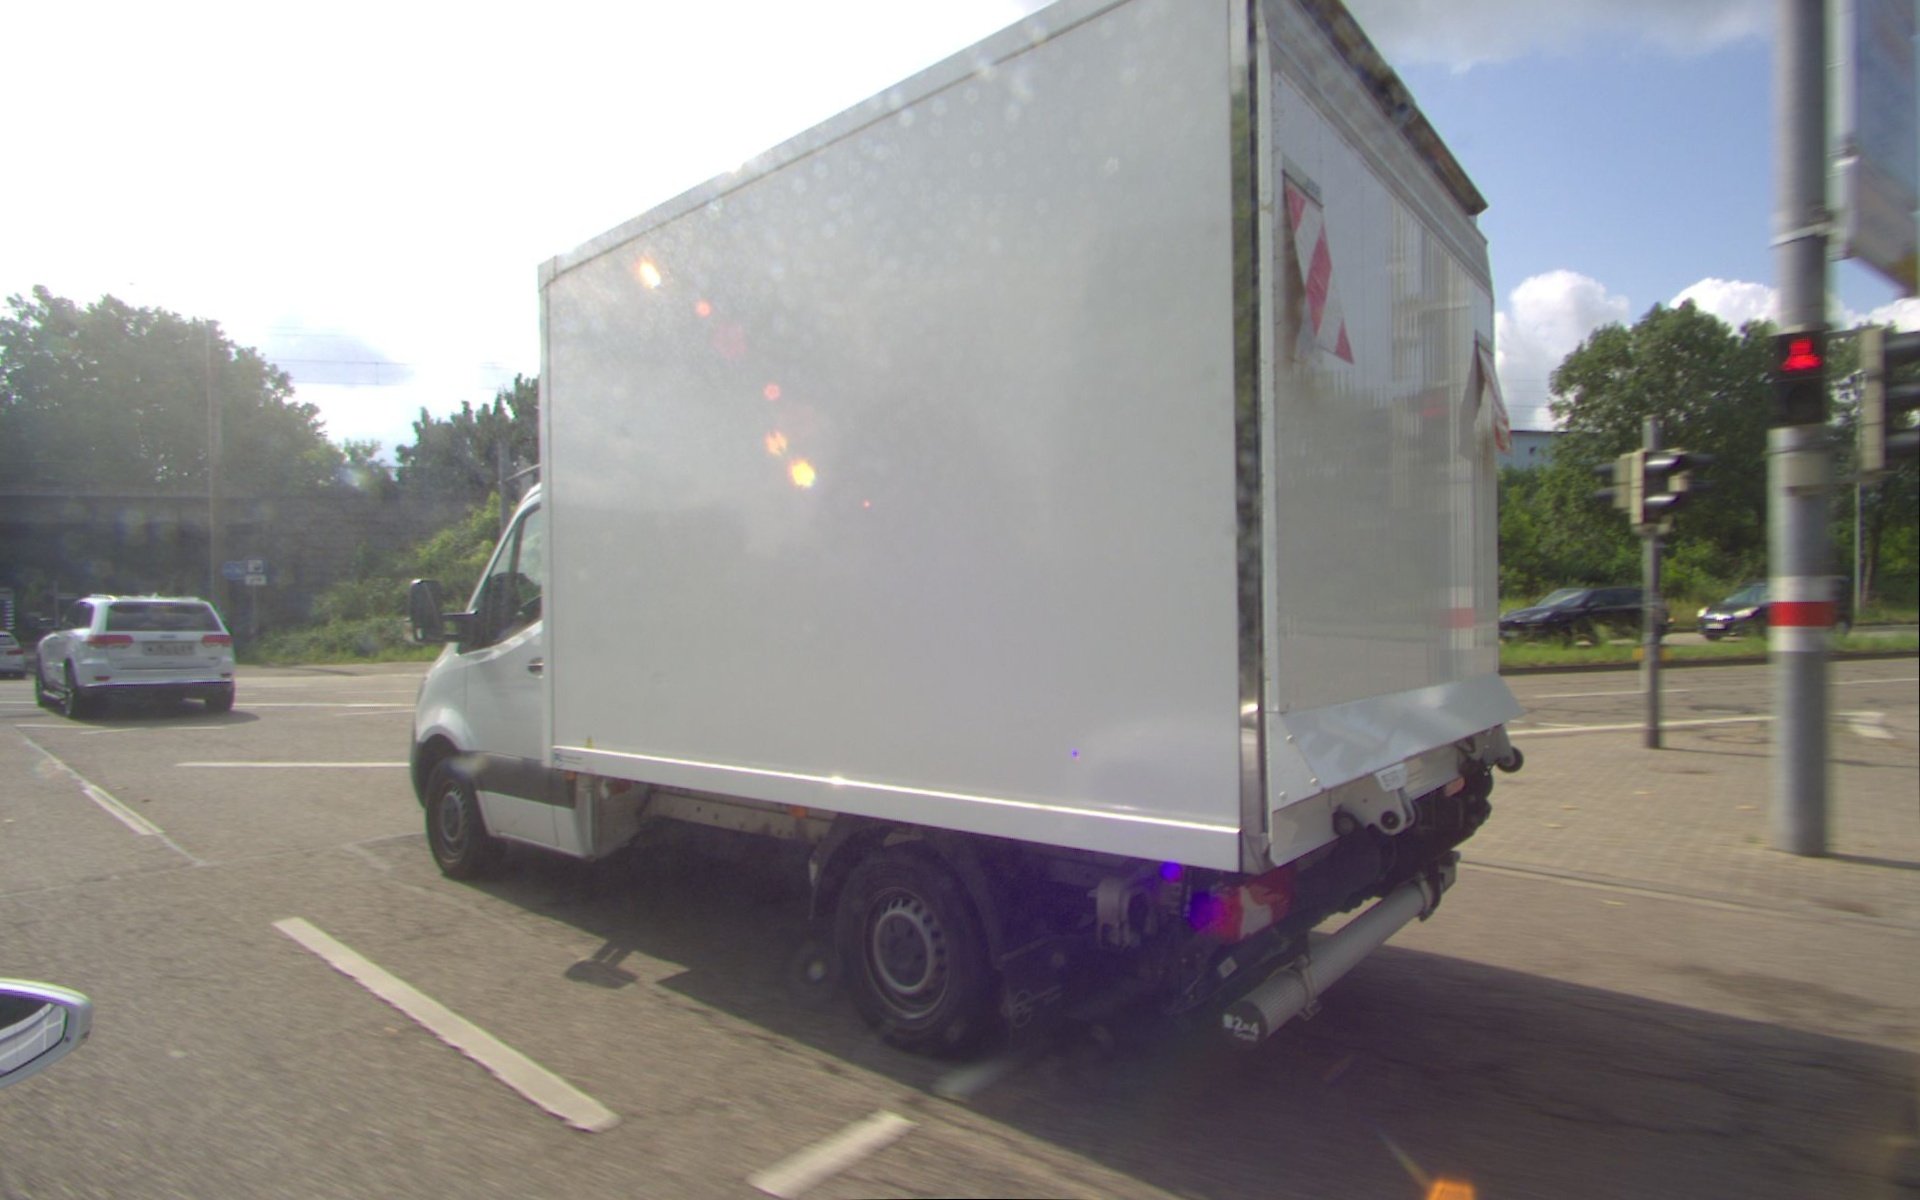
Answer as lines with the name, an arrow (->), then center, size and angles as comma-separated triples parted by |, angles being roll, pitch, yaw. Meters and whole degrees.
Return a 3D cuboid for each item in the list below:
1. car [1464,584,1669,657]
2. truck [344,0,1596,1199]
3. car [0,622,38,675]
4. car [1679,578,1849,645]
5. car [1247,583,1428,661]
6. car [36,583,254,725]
car -> 16.517, 0.541, 27.341 | 4.713, 1.665, 1.819 | -3, 0, -10
truck -> -0.550, 0.011, 4.978 | 5.958, 3.161, 2.436 | -3, -1, 40
car -> -29.573, 1.519, 30.482 | 3.578, 1.541, 1.842 | -4, -2, 42
car -> 23.315, 0.321, 29.064 | 4.128, 1.656, 1.641 | -3, 0, -14
car -> 9.823, 0.558, 26.152 | 3.951, 1.772, 1.974 | -3, 0, -15
car -> -12.903, 0.744, 15.750 | 4.457, 1.926, 1.985 | 0, 0, 42
